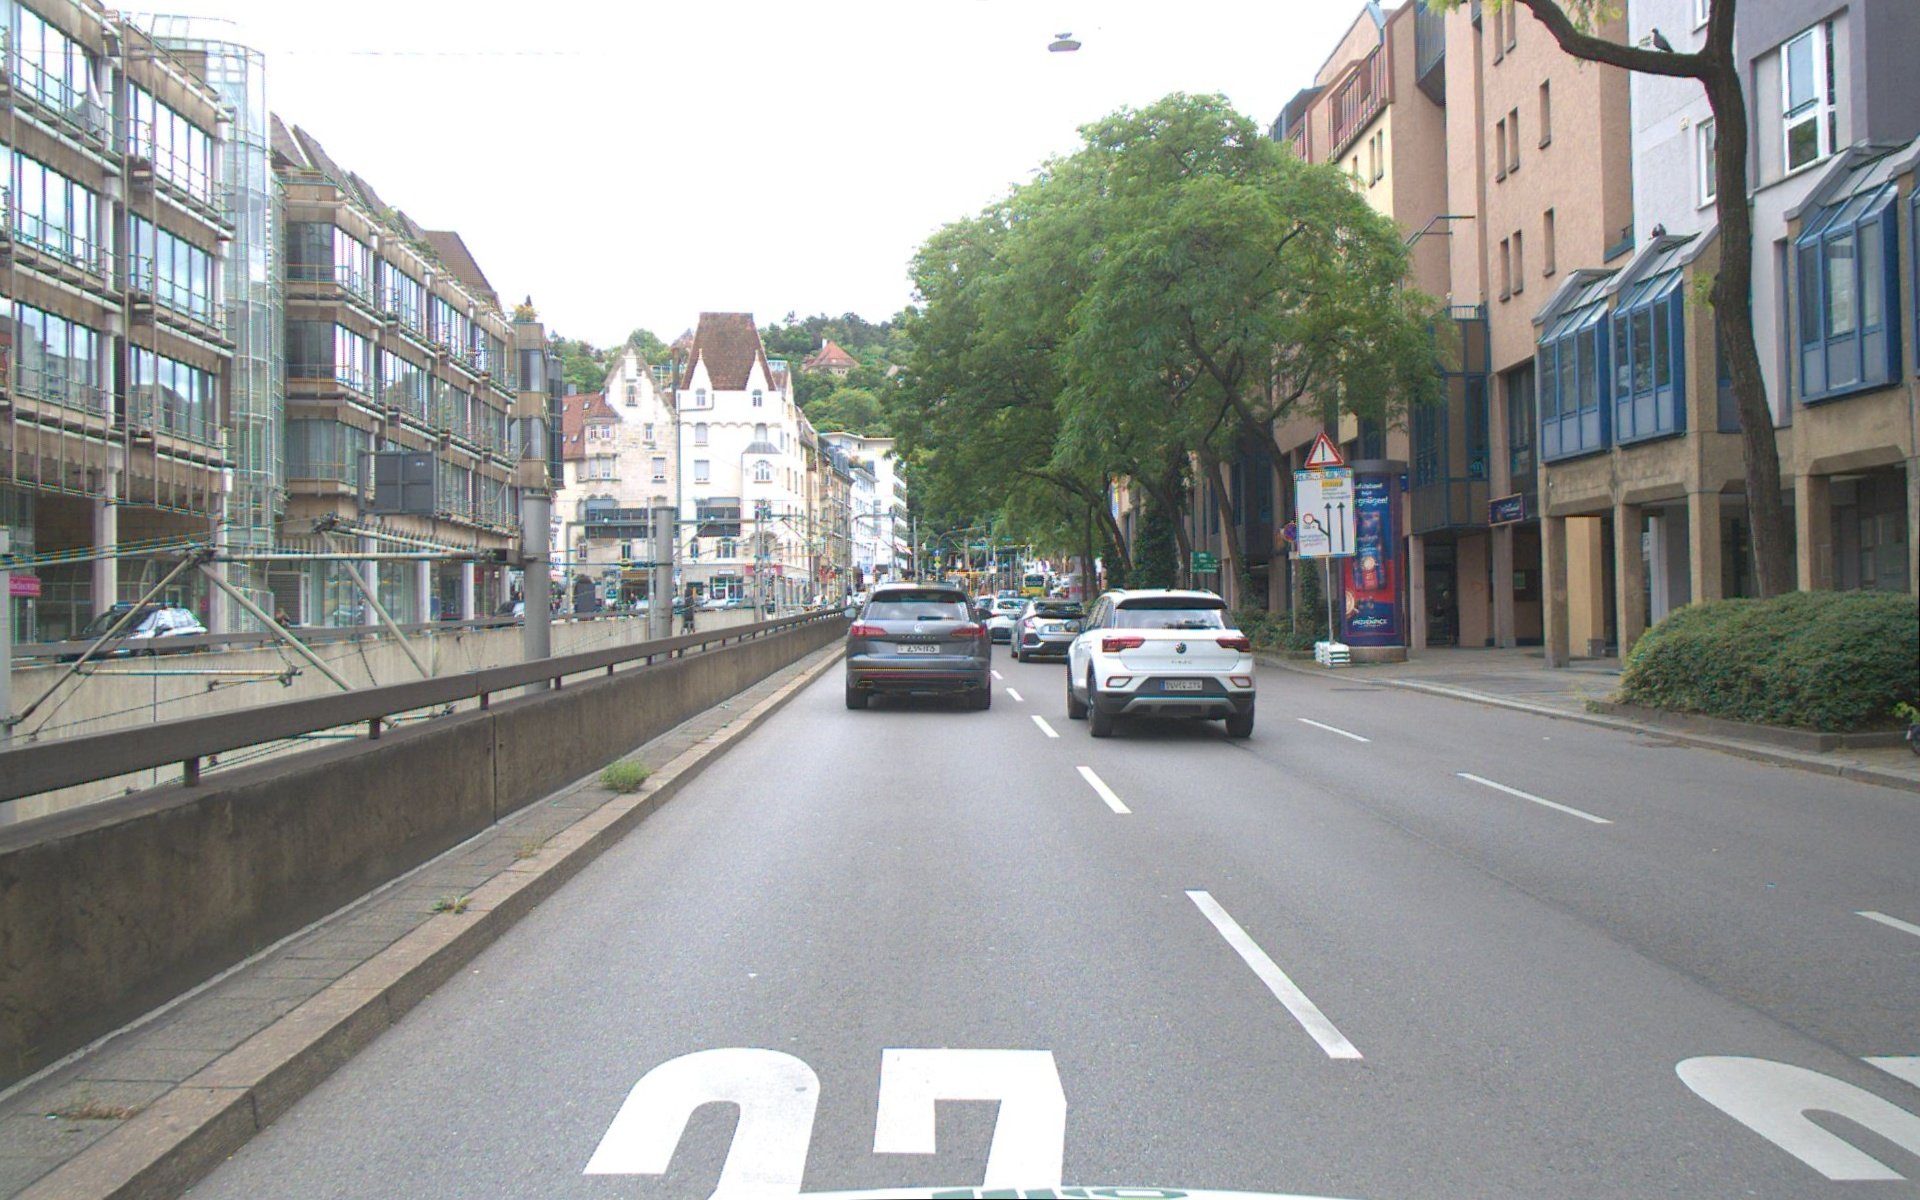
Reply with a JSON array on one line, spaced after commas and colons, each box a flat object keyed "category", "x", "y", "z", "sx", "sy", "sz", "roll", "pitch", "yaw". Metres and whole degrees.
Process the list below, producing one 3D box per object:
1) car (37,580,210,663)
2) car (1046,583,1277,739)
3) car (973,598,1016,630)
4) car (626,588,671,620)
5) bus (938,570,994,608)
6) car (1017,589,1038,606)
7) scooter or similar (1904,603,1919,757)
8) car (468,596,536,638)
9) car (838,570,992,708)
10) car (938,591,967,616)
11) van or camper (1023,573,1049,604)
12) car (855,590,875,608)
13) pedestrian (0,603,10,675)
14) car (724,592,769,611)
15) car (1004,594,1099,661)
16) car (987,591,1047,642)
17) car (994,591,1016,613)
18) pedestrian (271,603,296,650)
[{"category": "car", "x": -19.566, "y": 0.463, "z": 38.912, "sx": 1.953, "sy": 1.798, "sz": 4.279, "roll": -1, "pitch": 0, "yaw": -1}, {"category": "car", "x": 2.153, "y": 0.646, "z": 18.731, "sx": 1.763, "sy": 1.572, "sz": 3.930, "roll": 0, "pitch": -1, "yaw": -6}, {"category": "car", "x": 1.592, "y": 0.641, "z": 77.112, "sx": 1.795, "sy": 1.387, "sz": 3.766, "roll": -2, "pitch": 0, "yaw": -1}, {"category": "car", "x": -18.305, "y": 0.231, "z": 97.305, "sx": 1.953, "sy": 1.798, "sz": 3.999, "roll": -1, "pitch": 0, "yaw": -1}, {"category": "bus", "x": 0.740, "y": -1.138, "z": 166.915, "sx": 3.768, "sy": 3.593, "sz": 17.258, "roll": -1, "pitch": 0, "yaw": 6}, {"category": "car", "x": 6.536, "y": -0.242, "z": 159.096, "sx": 1.804, "sy": 1.495, "sz": 4.002, "roll": -1, "pitch": 0, "yaw": 5}, {"category": "scooter or similar", "x": 8.736, "y": 0.659, "z": 14.023, "sx": 1.137, "sy": 1.307, "sz": 0.426, "roll": -3, "pitch": 0, "yaw": 8}, {"category": "car", "x": -20.620, "y": 0.724, "z": 74.639, "sx": 1.953, "sy": 1.798, "sz": 4.279, "roll": -1, "pitch": 0, "yaw": -1}, {"category": "car", "x": -0.685, "y": 0.457, "z": 23.026, "sx": 1.931, "sy": 1.725, "sz": 4.222, "roll": 1, "pitch": 1, "yaw": -3}, {"category": "car", "x": -0.522, "y": 0.214, "z": 110.609, "sx": 1.795, "sy": 1.594, "sz": 3.766, "roll": -2, "pitch": 0, "yaw": -2}, {"category": "van or camper", "x": 8.287, "y": -1.250, "z": 179.862, "sx": 2.572, "sy": 3.234, "sz": 5.806, "roll": -1, "pitch": 0, "yaw": 3}, {"category": "car", "x": -9.443, "y": -0.094, "z": 164.184, "sx": 1.783, "sy": 1.676, "sz": 3.996, "roll": -1, "pitch": 0, "yaw": -5}, {"category": "pedestrian", "x": -24.765, "y": 1.006, "z": 42.300, "sx": 0.521, "sy": 1.824, "sz": 0.694, "roll": -1, "pitch": 0, "yaw": -1}, {"category": "car", "x": -19.267, "y": 0.099, "z": 149.200, "sx": 3.914, "sy": 1.676, "sz": 1.820, "roll": -1, "pitch": 0, "yaw": -10}, {"category": "car", "x": 2.070, "y": 0.610, "z": 38.352, "sx": 1.796, "sy": 1.457, "sz": 4.145, "roll": 0, "pitch": 0, "yaw": -2}, {"category": "car", "x": 1.835, "y": 0.515, "z": 54.518, "sx": 1.794, "sy": 1.544, "sz": 3.767, "roll": -3, "pitch": 0, "yaw": 0}, {"category": "car", "x": 3.938, "y": 0.167, "z": 146.144, "sx": 1.794, "sy": 1.907, "sz": 4.870, "roll": -2, "pitch": 0, "yaw": 0}, {"category": "pedestrian", "x": -27.083, "y": 1.060, "z": 66.232, "sx": 0.760, "sy": 1.856, "sz": 0.711, "roll": -1, "pitch": 0, "yaw": -11}]
